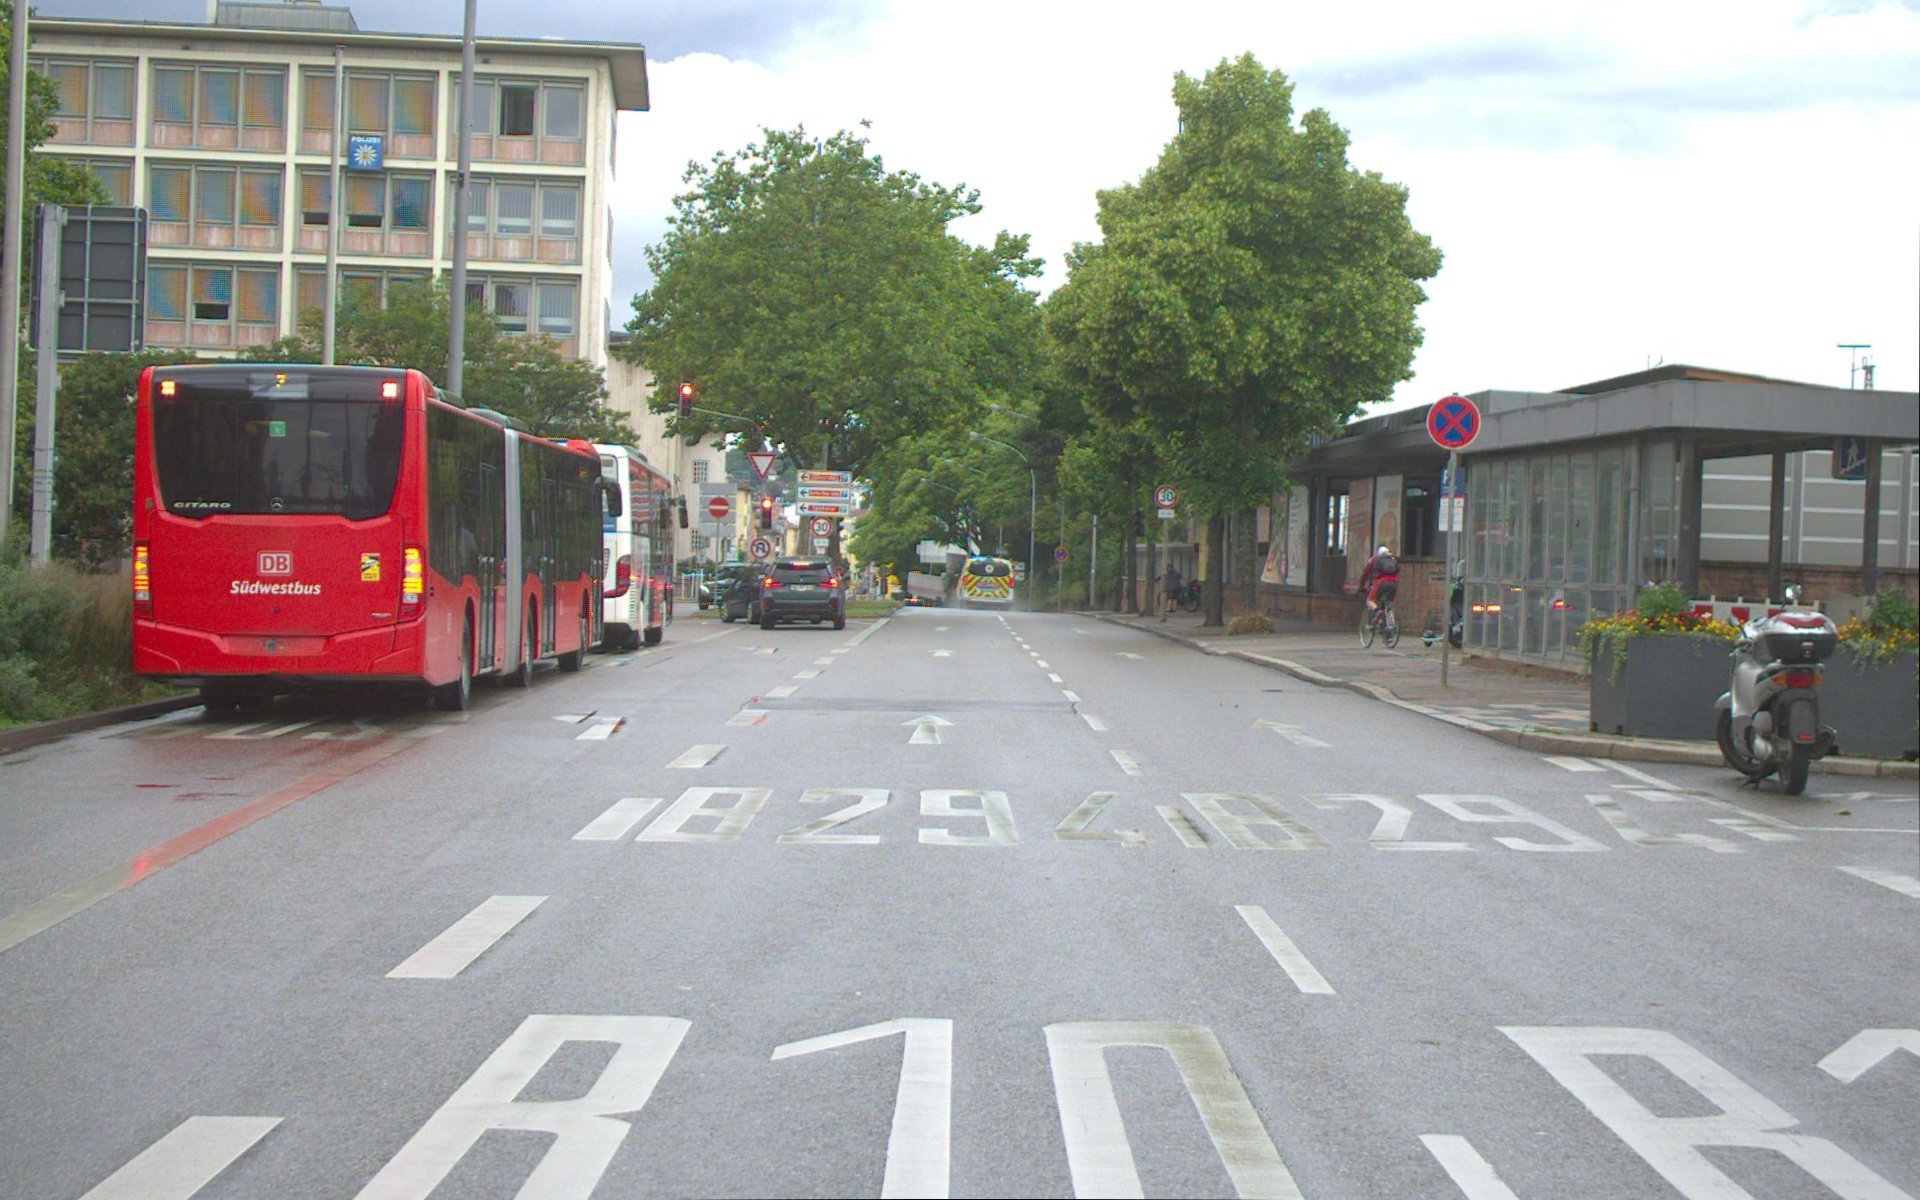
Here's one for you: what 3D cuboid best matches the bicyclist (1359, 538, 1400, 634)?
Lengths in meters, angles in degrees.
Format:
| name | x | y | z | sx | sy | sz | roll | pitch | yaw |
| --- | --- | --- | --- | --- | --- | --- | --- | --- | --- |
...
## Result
| name | x | y | z | sx | sy | sz | roll | pitch | yaw |
| --- | --- | --- | --- | --- | --- | --- | --- | --- | --- |
| bicyclist | 6.772 | -0.230 | 55.527 | 0.533 | 1.533 | 0.694 | -1 | 0 | -3 |

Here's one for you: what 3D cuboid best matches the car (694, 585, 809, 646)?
| name | x | y | z | sx | sy | sz | roll | pitch | yaw |
| --- | --- | --- | --- | --- | --- | --- | --- | --- | --- |
| car | -5.102 | 0.368 | 83.475 | 1.815 | 1.404 | 4.415 | 0 | 0 | -17 |

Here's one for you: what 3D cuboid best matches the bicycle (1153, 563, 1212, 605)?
| name | x | y | z | sx | sy | sz | roll | pitch | yaw |
| --- | --- | --- | --- | --- | --- | --- | --- | --- | --- |
| bicycle | 6.668 | -0.487 | 102.991 | 1.723 | 1.244 | 0.485 | 0 | 0 | 31 |

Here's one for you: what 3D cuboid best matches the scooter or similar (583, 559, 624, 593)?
| name | x | y | z | sx | sy | sz | roll | pitch | yaw |
| --- | --- | --- | --- | --- | --- | --- | --- | --- | --- |
| scooter or similar | -12.660 | -0.854 | 122.099 | 0.608 | 1.188 | 1.525 | 1 | 0 | 33 |

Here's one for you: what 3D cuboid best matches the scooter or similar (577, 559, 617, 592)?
| name | x | y | z | sx | sy | sz | roll | pitch | yaw |
| --- | --- | --- | --- | --- | --- | --- | --- | --- | --- |
| scooter or similar | -12.965 | -0.873 | 122.853 | 0.608 | 1.160 | 1.525 | 1 | 0 | 33 |

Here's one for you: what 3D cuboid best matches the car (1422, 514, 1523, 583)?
| name | x | y | z | sx | sy | sz | roll | pitch | yaw |
| --- | --- | --- | --- | --- | --- | --- | --- | --- | --- |
| car | 14.457 | -1.423 | 97.170 | 1.993 | 1.865 | 4.598 | 1 | 0 | -2 |

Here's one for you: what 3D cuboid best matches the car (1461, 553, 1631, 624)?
| name | x | y | z | sx | sy | sz | roll | pitch | yaw |
| --- | --- | --- | --- | --- | --- | --- | --- | --- | --- |
| car | 12.952 | -0.268 | 76.091 | 3.558 | 1.537 | 1.746 | 0 | 1 | 5 |

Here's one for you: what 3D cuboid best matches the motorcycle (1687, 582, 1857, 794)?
| name | x | y | z | sx | sy | sz | roll | pitch | yaw |
| --- | --- | --- | --- | --- | --- | --- | --- | --- | --- |
| motorcycle | 5.490 | 0.563 | 23.355 | 0.643 | 1.347 | 2.109 | 1 | 1 | 0 |

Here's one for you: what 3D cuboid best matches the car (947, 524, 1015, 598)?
| name | x | y | z | sx | sy | sz | roll | pitch | yaw |
| --- | --- | --- | --- | --- | --- | --- | --- | --- | --- |
| car | 0.733 | -1.426 | 125.274 | 2.264 | 2.647 | 4.000 | 1 | 1 | -2 |

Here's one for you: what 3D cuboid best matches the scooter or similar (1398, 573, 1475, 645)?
| name | x | y | z | sx | sy | sz | roll | pitch | yaw |
| --- | --- | --- | --- | --- | --- | --- | --- | --- | --- |
| scooter or similar | 7.810 | 0.137 | 56.440 | 0.492 | 1.149 | 1.716 | 1 | 0 | -20 |

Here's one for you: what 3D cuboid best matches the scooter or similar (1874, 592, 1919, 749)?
| name | x | y | z | sx | sy | sz | roll | pitch | yaw |
| --- | --- | --- | --- | --- | --- | --- | --- | --- | --- |
| scooter or similar | 7.382 | 0.537 | 26.201 | 0.413 | 1.151 | 1.261 | 4 | 1 | 31 |

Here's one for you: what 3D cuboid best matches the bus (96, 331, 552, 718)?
| name | x | y | z | sx | sy | sz | roll | pitch | yaw |
| --- | --- | --- | --- | --- | --- | --- | --- | --- | --- |
| bus | -5.965 | -0.715 | 34.023 | 2.809 | 3.234 | 9.914 | 1 | 1 | -1 |

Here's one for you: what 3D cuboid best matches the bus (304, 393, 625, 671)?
| name | x | y | z | sx | sy | sz | roll | pitch | yaw |
| --- | --- | --- | --- | --- | --- | --- | --- | --- | --- |
| bus | -6.047 | -0.839 | 43.379 | 2.752 | 3.122 | 8.843 | 1 | 1 | 0 |

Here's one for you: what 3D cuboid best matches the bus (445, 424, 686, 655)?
| name | x | y | z | sx | sy | sz | roll | pitch | yaw |
| --- | --- | --- | --- | --- | --- | --- | --- | --- | --- |
| bus | -6.419 | -0.993 | 57.916 | 2.955 | 3.428 | 12.560 | 1 | 1 | -2 |

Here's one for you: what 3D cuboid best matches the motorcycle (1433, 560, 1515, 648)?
| name | x | y | z | sx | sy | sz | roll | pitch | yaw |
| --- | --- | --- | --- | --- | --- | --- | --- | --- | --- |
| motorcycle | 8.099 | 0.041 | 54.252 | 0.791 | 1.343 | 2.457 | 1 | 1 | -3 |

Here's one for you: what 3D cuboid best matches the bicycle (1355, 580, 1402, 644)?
| name | x | y | z | sx | sy | sz | roll | pitch | yaw |
| --- | --- | --- | --- | --- | --- | --- | --- | --- | --- |
| bicycle | 6.761 | 0.189 | 55.572 | 0.446 | 1.013 | 1.678 | -1 | 1 | -3 |

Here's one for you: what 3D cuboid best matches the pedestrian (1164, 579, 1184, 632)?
| name | x | y | z | sx | sy | sz | roll | pitch | yaw |
| --- | --- | --- | --- | --- | --- | --- | --- | --- | --- |
| pedestrian | 6.383 | 0.167 | 102.653 | 0.457 | 1.563 | 0.392 | 0 | 0 | 32 |

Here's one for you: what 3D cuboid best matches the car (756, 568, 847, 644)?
| name | x | y | z | sx | sy | sz | roll | pitch | yaw |
| --- | --- | --- | --- | --- | --- | --- | --- | --- | --- |
| car | -3.501 | 0.115 | 76.455 | 1.964 | 1.634 | 4.359 | 1 | 0 | -2 |
